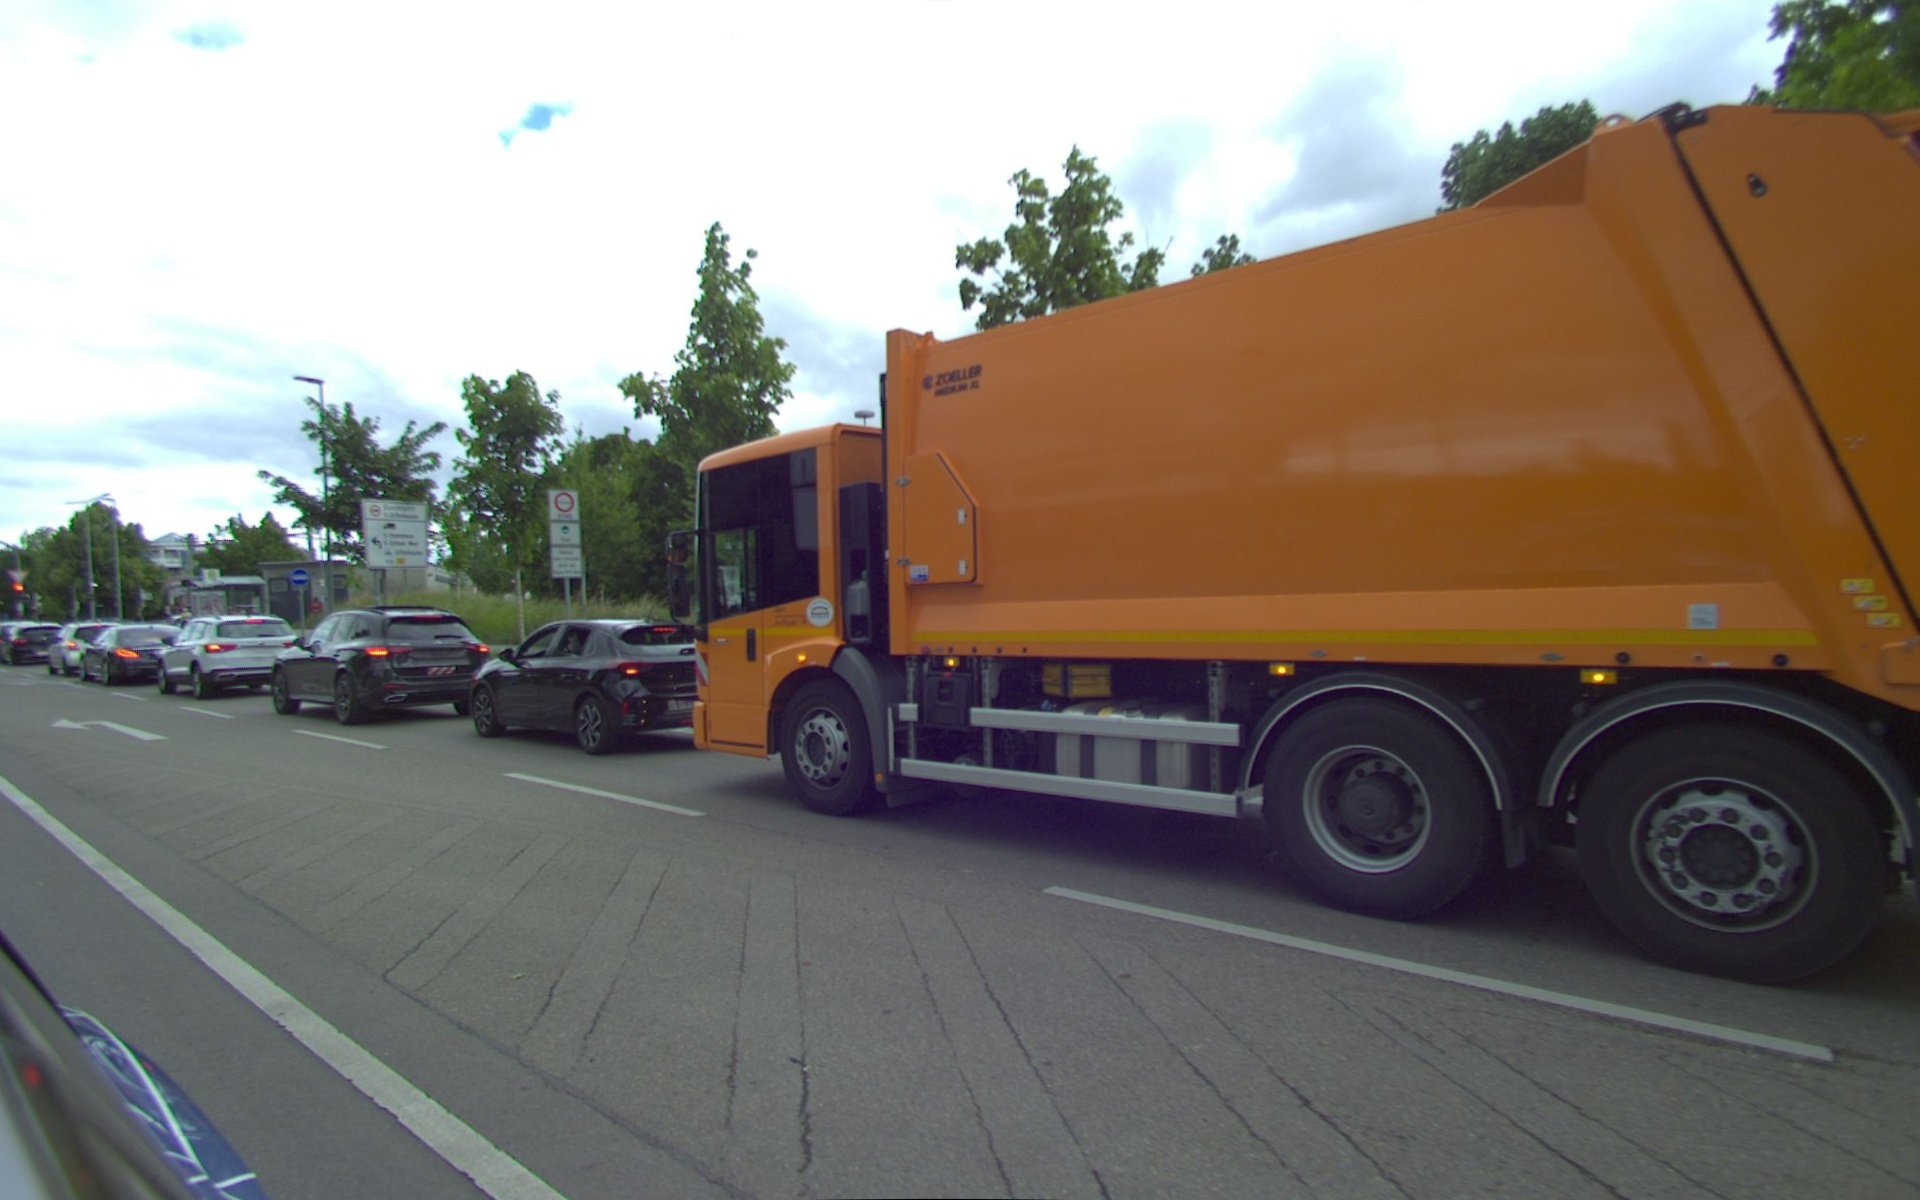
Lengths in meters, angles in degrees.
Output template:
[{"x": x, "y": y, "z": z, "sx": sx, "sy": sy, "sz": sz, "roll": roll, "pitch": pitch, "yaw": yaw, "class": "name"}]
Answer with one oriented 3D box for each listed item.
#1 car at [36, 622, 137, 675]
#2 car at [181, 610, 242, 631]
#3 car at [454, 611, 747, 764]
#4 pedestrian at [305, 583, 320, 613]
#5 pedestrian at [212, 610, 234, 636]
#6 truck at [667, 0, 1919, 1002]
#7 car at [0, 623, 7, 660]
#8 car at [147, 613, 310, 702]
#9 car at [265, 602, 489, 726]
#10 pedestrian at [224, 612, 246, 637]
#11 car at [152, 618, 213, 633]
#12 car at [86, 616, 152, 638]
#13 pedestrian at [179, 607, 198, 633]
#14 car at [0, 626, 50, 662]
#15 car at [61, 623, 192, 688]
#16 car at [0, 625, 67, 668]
[{"x": -25.347, "y": 1.385, "z": 29.344, "sx": 3.759, "sy": 1.401, "sz": 1.623, "roll": -2, "pitch": 0, "yaw": 40, "class": "car"}, {"x": -74.795, "y": 2.088, "z": 101.252, "sx": 2.172, "sy": 1.920, "sz": 4.416, "roll": -2, "pitch": -3, "yaw": 25, "class": "car"}, {"x": -4.294, "y": 0.920, "z": 11.791, "sx": 3.891, "sy": 1.468, "sz": 1.419, "roll": -2, "pitch": 0, "yaw": 40, "class": "car"}, {"x": -37.508, "y": -0.124, "z": 58.642, "sx": 0.541, "sy": 1.682, "sz": 0.430, "roll": -3, "pitch": 0, "yaw": -14, "class": "pedestrian"}, {"x": -38.819, "y": 1.201, "z": 53.288, "sx": 0.549, "sy": 1.340, "sz": 0.766, "roll": -3, "pitch": 0, "yaw": 31, "class": "pedestrian"}, {"x": 2.290, "y": -0.346, "z": 6.048, "sx": 9.988, "sy": 3.513, "sz": 2.678, "roll": -2, "pitch": 0, "yaw": 41, "class": "truck"}, {"x": -42.397, "y": 1.826, "z": 43.669, "sx": 2.771, "sy": 1.538, "sz": 1.415, "roll": -2, "pitch": 0, "yaw": 38, "class": "car"}, {"x": -15.093, "y": 1.134, "z": 20.798, "sx": 4.220, "sy": 1.597, "sz": 1.713, "roll": -2, "pitch": 0, "yaw": 40, "class": "car"}, {"x": -8.915, "y": 0.908, "z": 15.342, "sx": 4.057, "sy": 1.597, "sz": 1.623, "roll": -2, "pitch": 0, "yaw": 40, "class": "car"}, {"x": -37.759, "y": 1.268, "z": 52.692, "sx": 0.549, "sy": 1.236, "sz": 0.766, "roll": -3, "pitch": 0, "yaw": 31, "class": "pedestrian"}, {"x": -74.064, "y": 2.469, "z": 96.449, "sx": 1.807, "sy": 1.351, "sz": 4.179, "roll": -3, "pitch": -3, "yaw": 30, "class": "car"}, {"x": -75.373, "y": 2.413, "z": 90.753, "sx": 1.809, "sy": 1.793, "sz": 4.176, "roll": -2, "pitch": 0, "yaw": 32, "class": "car"}, {"x": -42.058, "y": 1.069, "z": 55.183, "sx": 0.772, "sy": 1.374, "sz": 0.545, "roll": -3, "pitch": 0, "yaw": 32, "class": "pedestrian"}, {"x": -37.977, "y": 1.759, "z": 40.399, "sx": 4.375, "sy": 1.342, "sz": 1.782, "roll": -2, "pitch": 0, "yaw": 39, "class": "car"}, {"x": -20.588, "y": 1.322, "z": 24.921, "sx": 4.881, "sy": 1.401, "sz": 1.623, "roll": -2, "pitch": 0, "yaw": 40, "class": "car"}, {"x": -32.824, "y": 1.615, "z": 35.519, "sx": 4.057, "sy": 1.342, "sz": 1.623, "roll": -2, "pitch": 0, "yaw": 40, "class": "car"}]
